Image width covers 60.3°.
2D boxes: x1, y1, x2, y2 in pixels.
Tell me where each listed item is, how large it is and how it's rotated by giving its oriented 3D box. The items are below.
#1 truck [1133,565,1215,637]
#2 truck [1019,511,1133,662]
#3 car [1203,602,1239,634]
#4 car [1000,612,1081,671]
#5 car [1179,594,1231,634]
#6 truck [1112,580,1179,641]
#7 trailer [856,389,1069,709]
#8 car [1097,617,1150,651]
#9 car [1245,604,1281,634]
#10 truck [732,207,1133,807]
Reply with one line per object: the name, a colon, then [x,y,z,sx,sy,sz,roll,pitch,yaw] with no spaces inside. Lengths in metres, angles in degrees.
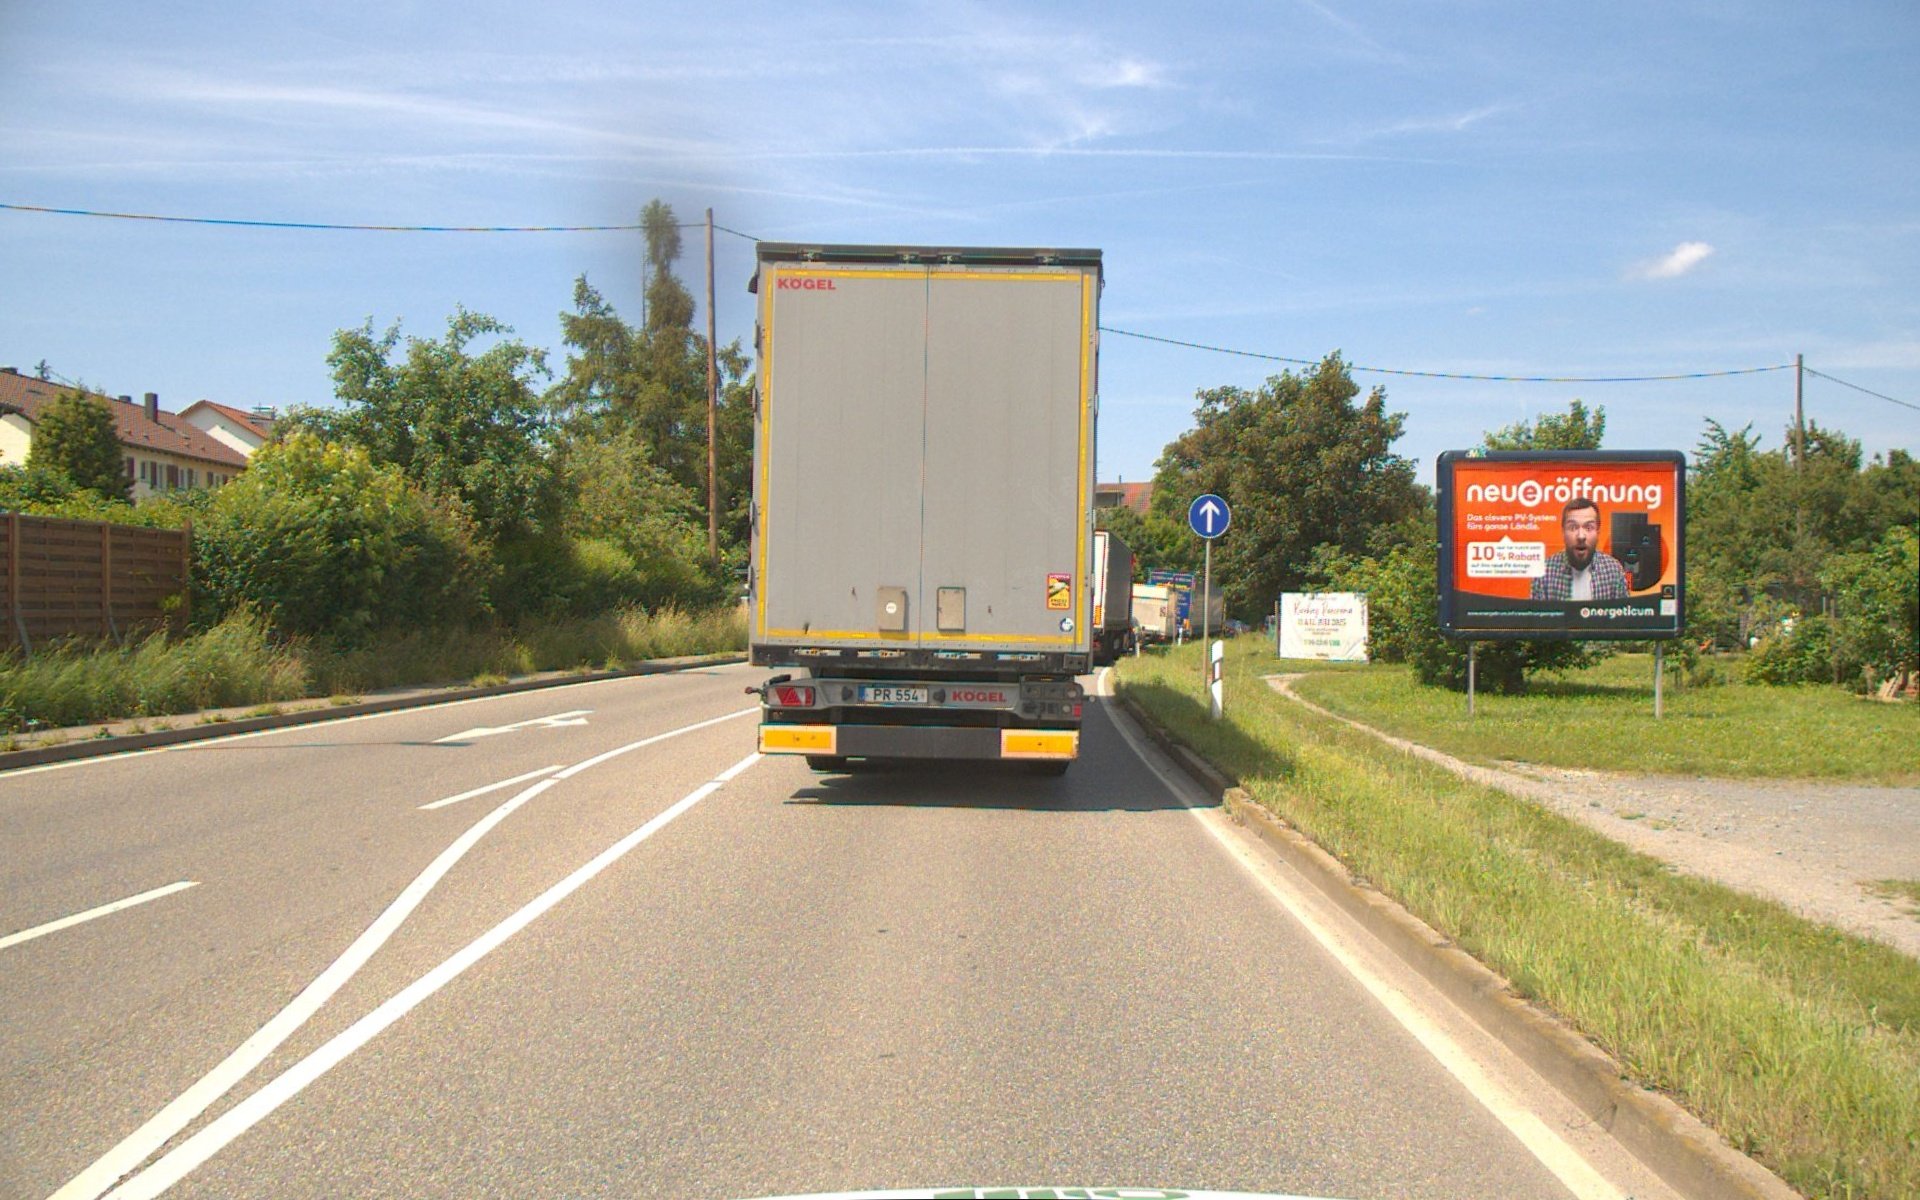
truck: [11.860,0.019,90.968,3.360,3.667,9.361,1,1,14]
truck: [4.254,-0.280,56.655,2.701,4.364,16.427,1,-1,8]
car: [17.188,1.181,108.680,1.951,2.049,4.003,1,-1,14]
car: [2.058,1.018,41.335,1.780,1.370,3.850,1,-1,6]
car: [15.208,0.822,102.213,2.478,2.317,6.386,1,0,14]
truck: [9.131,0.530,80.959,2.489,2.852,6.036,1,-1,13]
trailer: [0.126,-0.683,25.043,2.766,4.183,6.545,1,0,2]
car: [7.226,1.476,72.756,1.951,1.400,4.003,1,-1,11]
car: [21.824,1.388,119.002,1.952,2.049,4.001,1,-1,19]
truck: [-0.067,-0.690,17.416,2.764,4.200,11.445,1,0,1]
